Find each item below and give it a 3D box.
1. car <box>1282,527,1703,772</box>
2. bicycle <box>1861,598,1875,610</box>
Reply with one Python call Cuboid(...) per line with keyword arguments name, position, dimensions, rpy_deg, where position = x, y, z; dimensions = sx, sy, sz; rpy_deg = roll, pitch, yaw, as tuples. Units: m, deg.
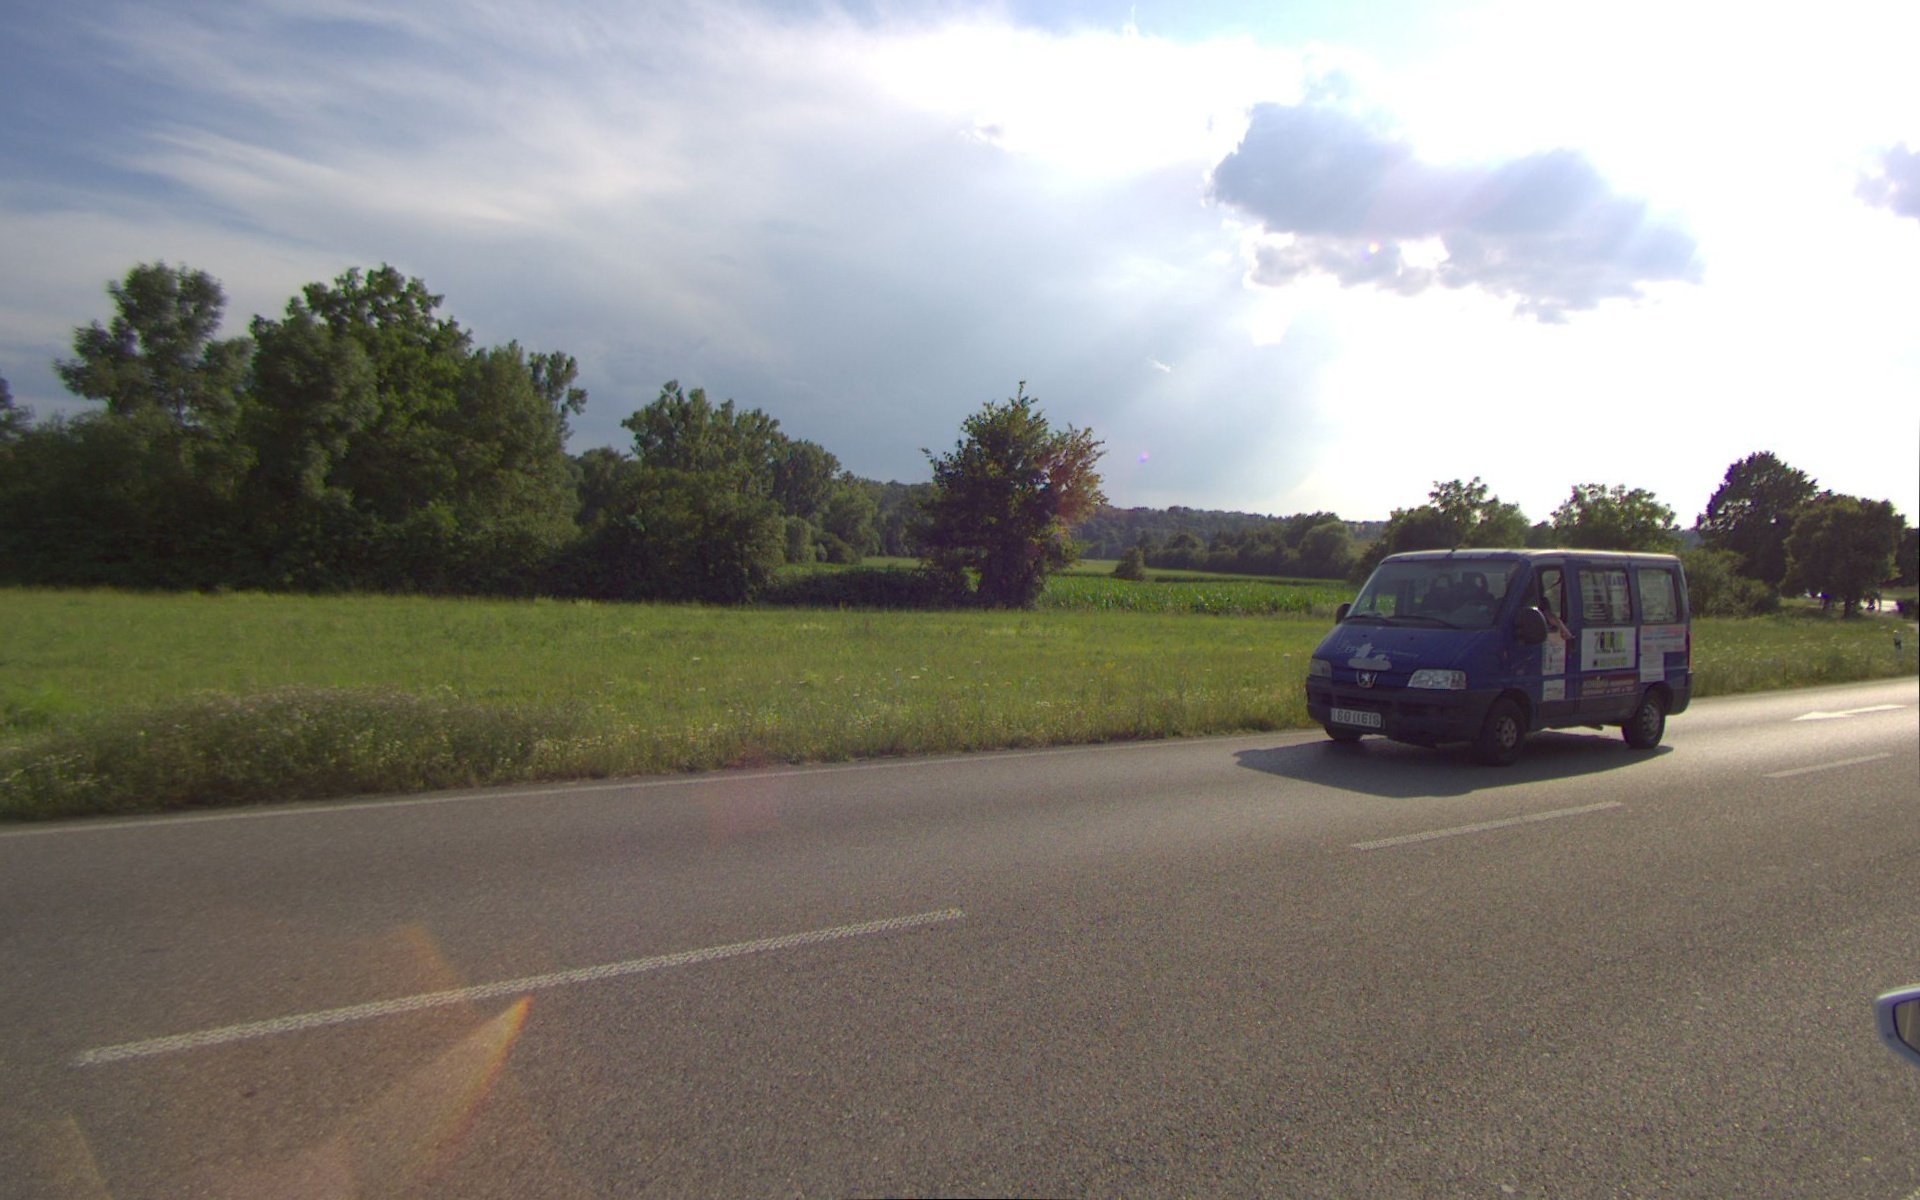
Cuboid(name="car", position=(5.919, 0.467, 10.995), dimensions=(4.727, 2.165, 1.987), rpy_deg=(1, 1, -33))
Cuboid(name="bicycle", position=(85.025, 0.401, 94.062), dimensions=(1.656, 1.089, 0.630), rpy_deg=(1, 2, -39))
